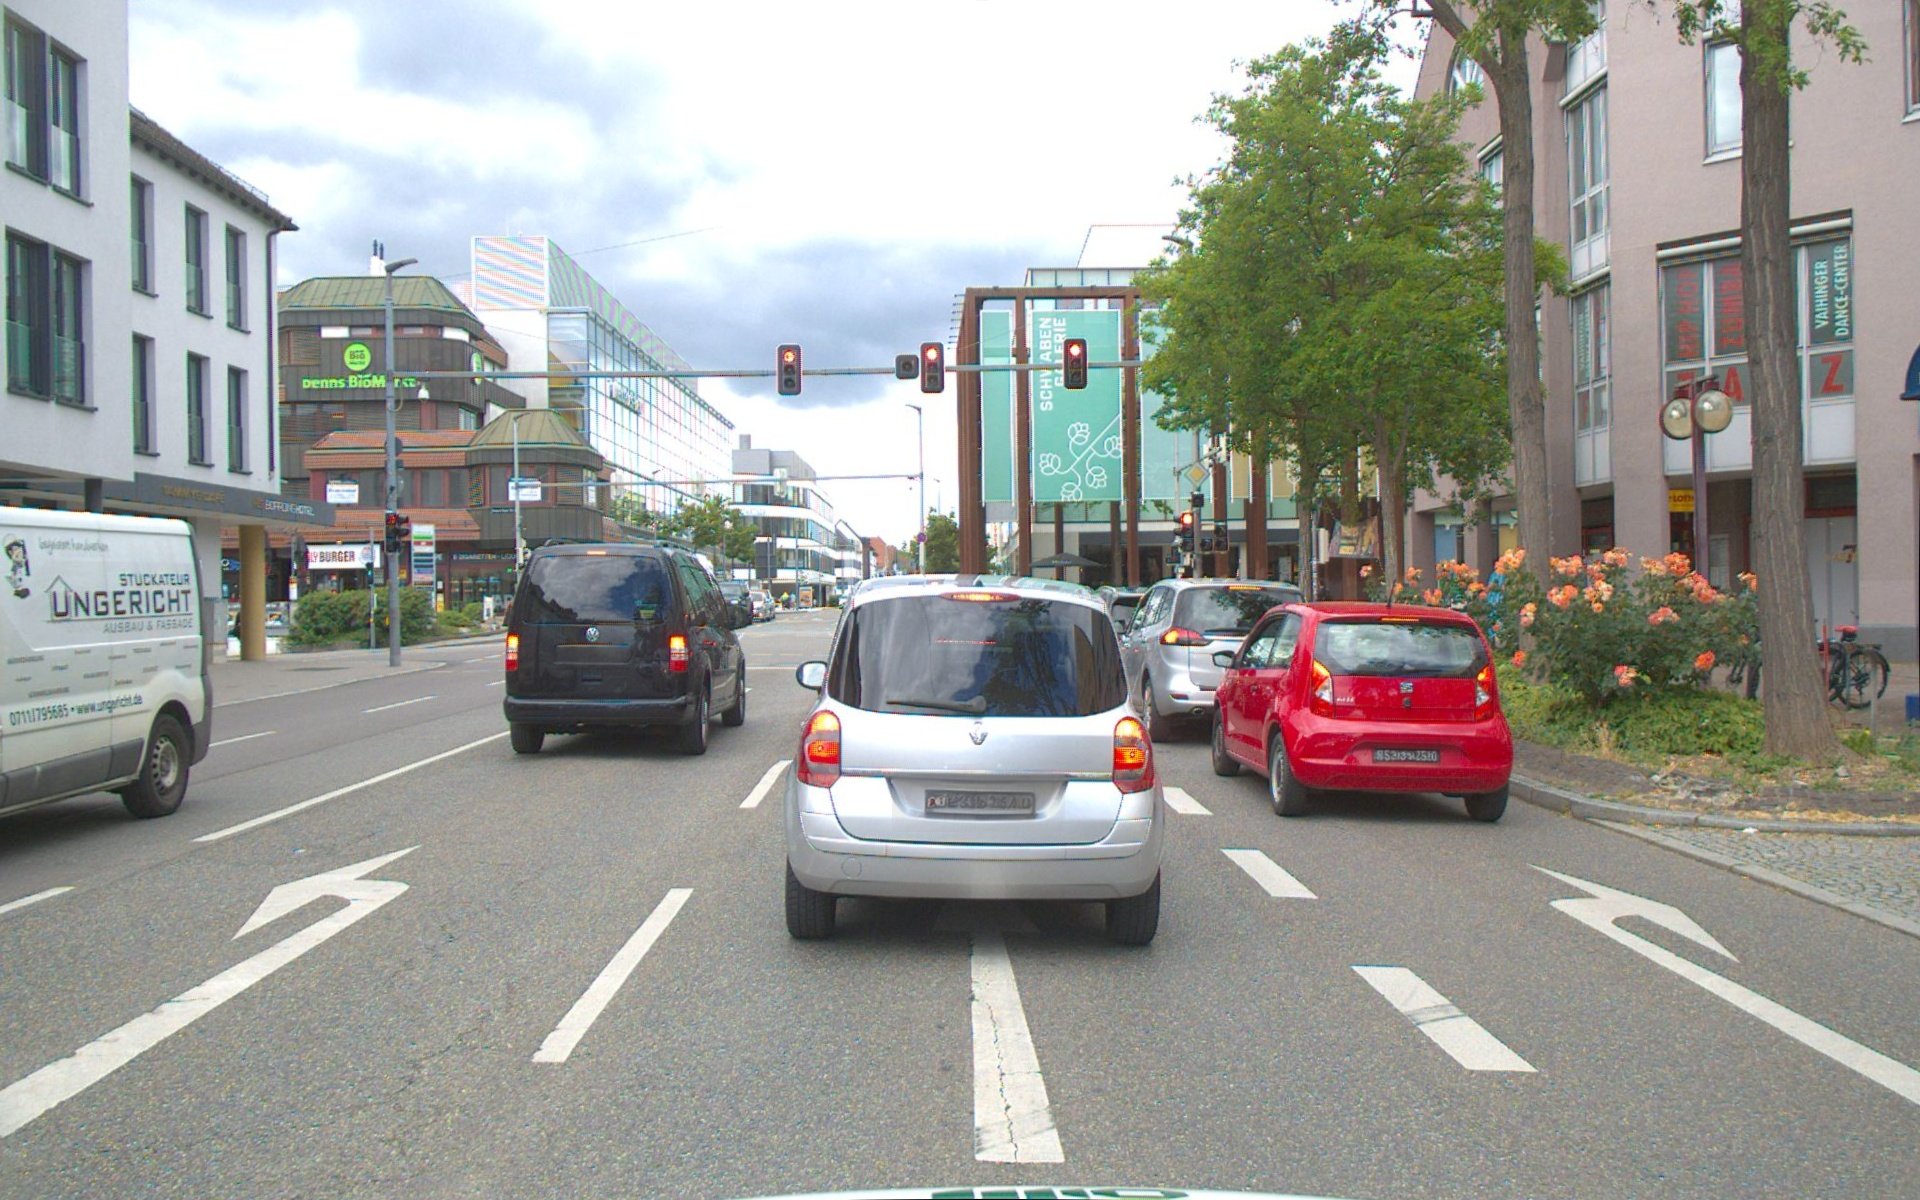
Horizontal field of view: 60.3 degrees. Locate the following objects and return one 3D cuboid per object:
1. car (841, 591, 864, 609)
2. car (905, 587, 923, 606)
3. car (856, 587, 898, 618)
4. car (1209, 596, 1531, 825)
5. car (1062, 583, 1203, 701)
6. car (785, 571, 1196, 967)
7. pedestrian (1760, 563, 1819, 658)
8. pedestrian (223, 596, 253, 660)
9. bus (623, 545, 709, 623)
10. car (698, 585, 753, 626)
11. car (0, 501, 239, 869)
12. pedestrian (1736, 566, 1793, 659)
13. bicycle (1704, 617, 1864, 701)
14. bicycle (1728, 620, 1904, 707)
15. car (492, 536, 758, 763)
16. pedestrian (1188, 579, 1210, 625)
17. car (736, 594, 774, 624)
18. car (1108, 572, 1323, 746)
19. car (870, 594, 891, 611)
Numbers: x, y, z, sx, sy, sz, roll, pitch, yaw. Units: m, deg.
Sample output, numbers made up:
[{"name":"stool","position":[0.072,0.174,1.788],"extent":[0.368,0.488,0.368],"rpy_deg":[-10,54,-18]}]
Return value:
[{"name":"car","position":[-9.852,0.000,151.849],"extent":[1.764,1.567,4.065],"rpy_deg":[0,0,0]},{"name":"car","position":[-4.952,-0.402,177.678],"extent":[1.953,1.983,4.949],"rpy_deg":[0,0,-2]},{"name":"car","position":[-4.718,0.110,94.353],"extent":[1.877,1.706,4.244],"rpy_deg":[0,0,4]},{"name":"car","position":[2.960,0.726,12.598],"extent":[1.554,1.468,3.348],"rpy_deg":[1,0,-1]},{"name":"car","position":[2.549,0.576,25.149],"extent":[1.555,1.623,3.866],"rpy_deg":[1,0,-3]},{"name":"car","position":[0.092,0.658,8.222],"extent":[1.606,1.554,3.393],"rpy_deg":[1,0,-1]},{"name":"pedestrian","position":[14.066,0.173,28.047],"extent":[0.653,1.591,0.617],"rpy_deg":[0,0,-23]},{"name":"pedestrian","position":[-19.452,0.746,44.552],"extent":[0.693,1.687,0.934],"rpy_deg":[-1,0,-22]},{"name":"bus","position":[-13.220,-0.715,75.112],"extent":[2.633,3.318,8.650],"rpy_deg":[0,0,-2]},{"name":"car","position":[-10.207,0.223,72.166],"extent":[1.953,1.735,4.063],"rpy_deg":[0,0,-2]},{"name":"car","position":[-6.009,0.466,9.027],"extent":[1.953,1.921,5.157],"rpy_deg":[-2,0,-2]},{"name":"pedestrian","position":[13.511,0.199,27.779],"extent":[0.601,1.542,0.617],"rpy_deg":[0,0,-23]},{"name":"bicycle","position":[10.233,0.726,20.563],"extent":[1.731,1.014,0.447],"rpy_deg":[-1,0,3]},{"name":"bicycle","position":[10.340,0.764,20.010],"extent":[1.861,1.014,0.468],"rpy_deg":[-1,0,3]},{"name":"car","position":[-3.091,0.403,16.193],"extent":[1.709,1.887,4.633],"rpy_deg":[1,0,-1]},{"name":"pedestrian","position":[8.759,0.060,60.666],"extent":[0.641,1.679,0.557],"rpy_deg":[-1,0,-15]},{"name":"car","position":[-9.888,0.417,79.750],"extent":[1.524,1.417,3.286],"rpy_deg":[0,0,-2]},{"name":"car","position":[2.659,0.562,18.014],"extent":[1.555,1.662,3.914],"rpy_deg":[1,0,-3]},{"name":"car","position":[-7.572,0.246,157.211],"extent":[1.764,1.567,4.065],"rpy_deg":[0,0,0]}]
